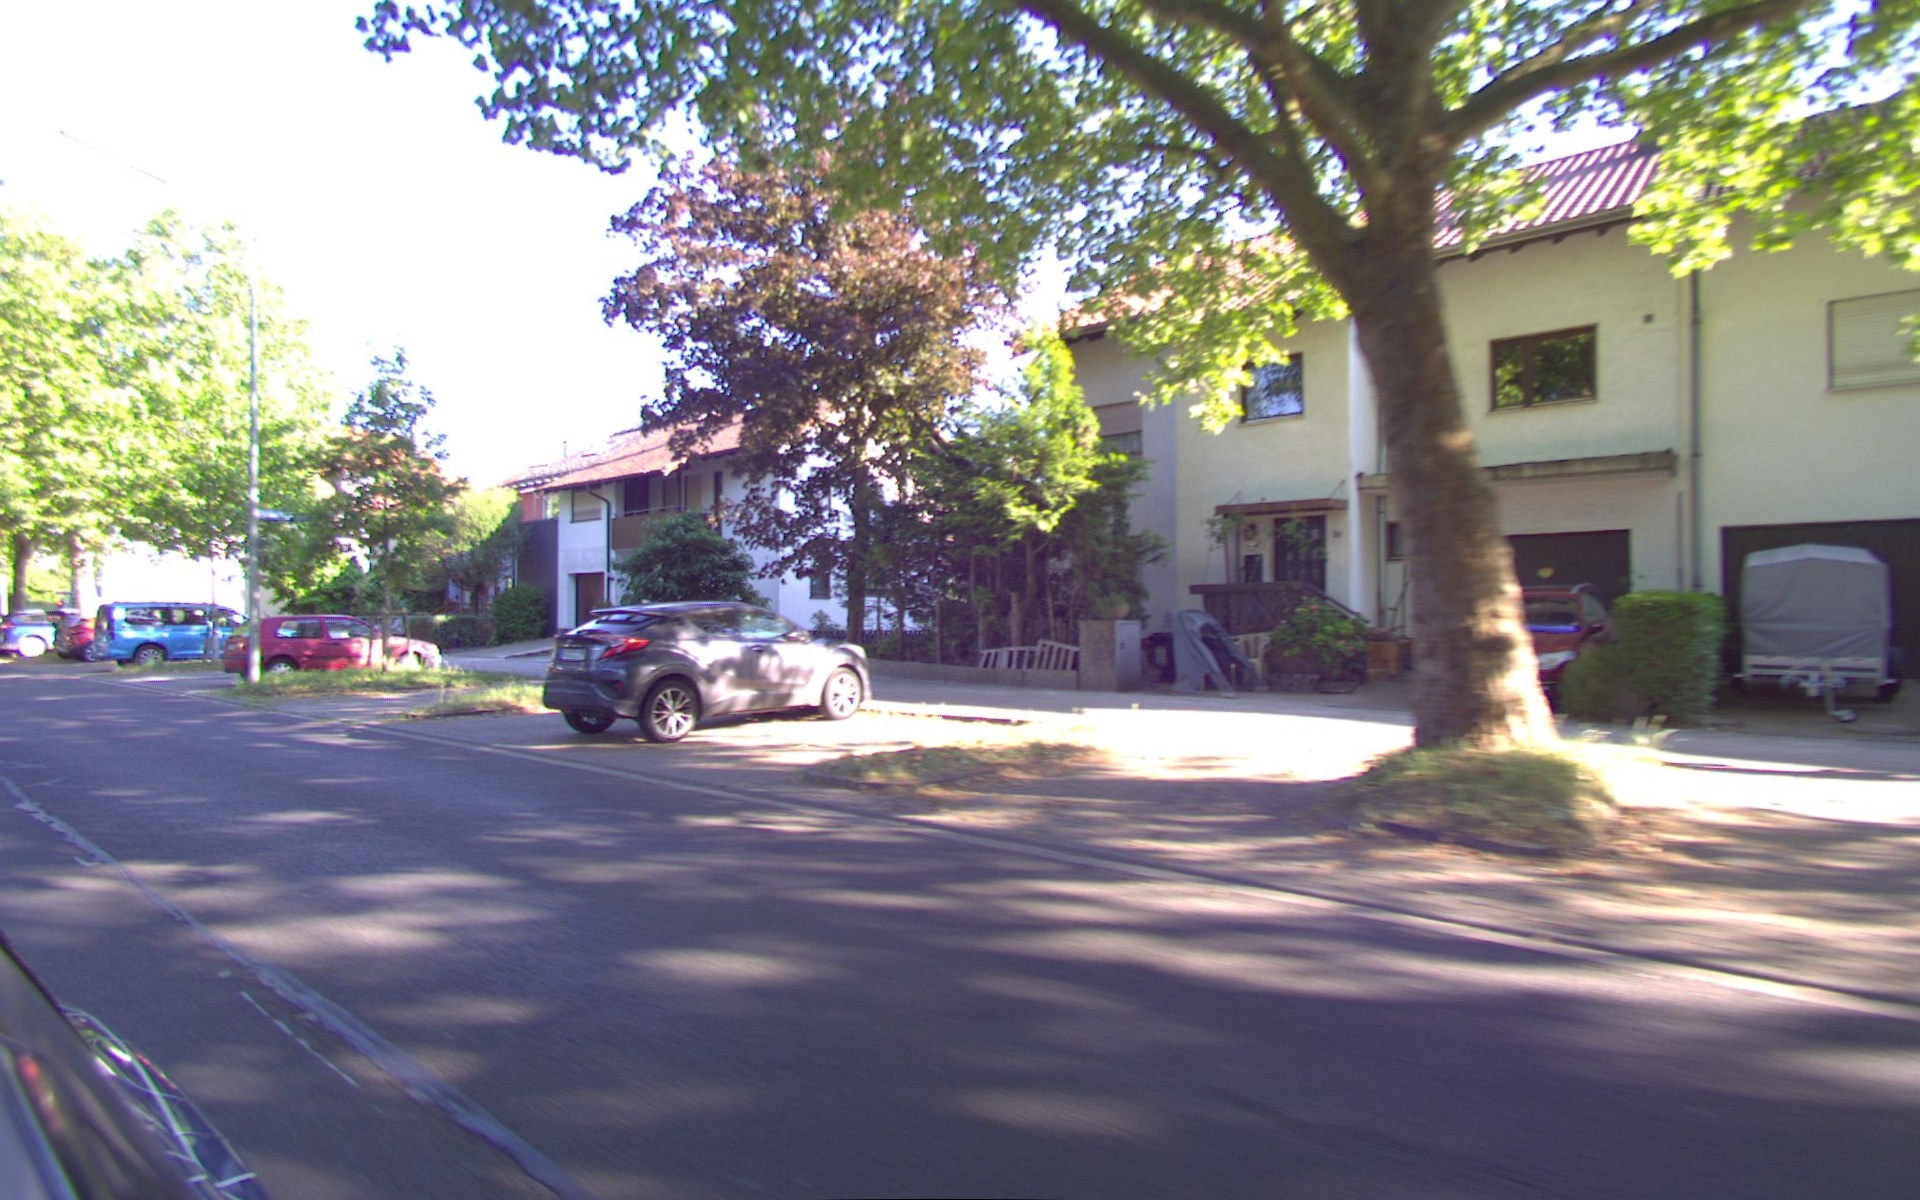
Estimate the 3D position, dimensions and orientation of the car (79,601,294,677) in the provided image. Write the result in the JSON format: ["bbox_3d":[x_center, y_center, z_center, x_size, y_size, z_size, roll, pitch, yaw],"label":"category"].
[{"bbox_3d":[-21.303,1.007,28.015,1.992,1.838,4.346,-1,1,36],"label":"car"}]

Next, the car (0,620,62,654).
[{"bbox_3d":[-44.248,1.709,46.826,1.827,1.546,3.731,-1,-1,35],"label":"car"}]

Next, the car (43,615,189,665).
[{"bbox_3d":[-28.736,1.323,34.541,1.722,1.528,3.483,-1,0,34],"label":"car"}]

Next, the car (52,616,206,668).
[{"bbox_3d":[-27.060,1.326,33.020,1.779,1.528,3.607,-1,-1,38],"label":"car"}]

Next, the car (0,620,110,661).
[{"bbox_3d":[-36.767,1.592,40.339,1.872,1.512,4.125,-1,0,36],"label":"car"}]

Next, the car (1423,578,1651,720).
[{"bbox_3d":[8.094,0.559,14.030,1.999,1.487,3.947,-1,3,41],"label":"car"}]

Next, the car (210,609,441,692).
[{"bbox_3d":[-13.390,1.000,21.546,1.662,1.530,3.836,-2,0,36],"label":"car"}]

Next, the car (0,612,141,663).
[{"bbox_3d":[-32.864,1.340,37.156,1.829,1.729,4.053,-1,-1,37],"label":"car"}]

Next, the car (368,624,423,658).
[{"bbox_3d":[-19.712,1.423,35.364,0.699,1.125,1.499,-1,0,38],"label":"car"}]

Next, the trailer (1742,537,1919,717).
[{"bbox_3d":[11.184,0.248,12.993,1.641,1.940,3.420,-3,2,39],"label":"trailer"}]

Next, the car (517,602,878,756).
[{"bbox_3d":[-3.024,0.813,12.303,1.816,1.530,3.948,-1,-1,40],"label":"car"}]
